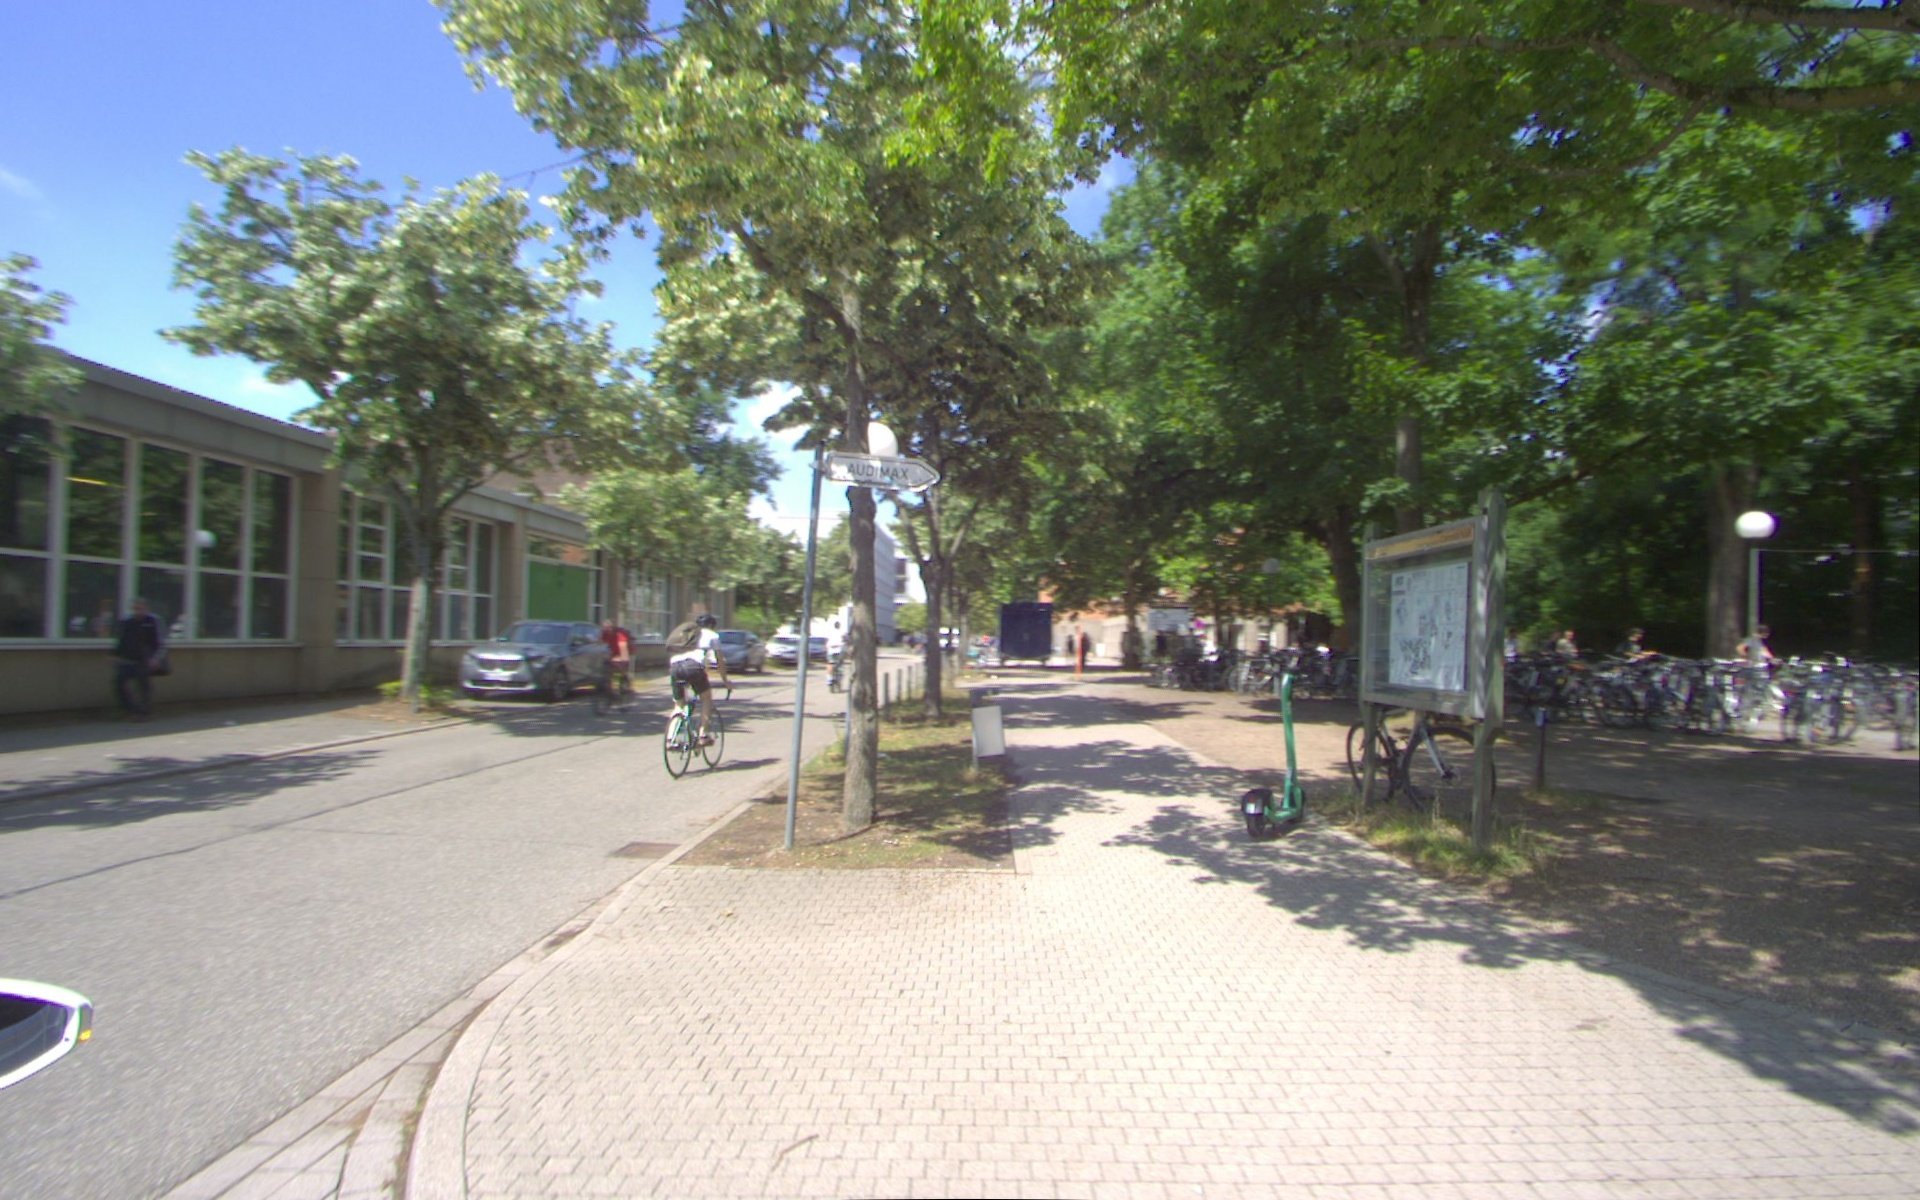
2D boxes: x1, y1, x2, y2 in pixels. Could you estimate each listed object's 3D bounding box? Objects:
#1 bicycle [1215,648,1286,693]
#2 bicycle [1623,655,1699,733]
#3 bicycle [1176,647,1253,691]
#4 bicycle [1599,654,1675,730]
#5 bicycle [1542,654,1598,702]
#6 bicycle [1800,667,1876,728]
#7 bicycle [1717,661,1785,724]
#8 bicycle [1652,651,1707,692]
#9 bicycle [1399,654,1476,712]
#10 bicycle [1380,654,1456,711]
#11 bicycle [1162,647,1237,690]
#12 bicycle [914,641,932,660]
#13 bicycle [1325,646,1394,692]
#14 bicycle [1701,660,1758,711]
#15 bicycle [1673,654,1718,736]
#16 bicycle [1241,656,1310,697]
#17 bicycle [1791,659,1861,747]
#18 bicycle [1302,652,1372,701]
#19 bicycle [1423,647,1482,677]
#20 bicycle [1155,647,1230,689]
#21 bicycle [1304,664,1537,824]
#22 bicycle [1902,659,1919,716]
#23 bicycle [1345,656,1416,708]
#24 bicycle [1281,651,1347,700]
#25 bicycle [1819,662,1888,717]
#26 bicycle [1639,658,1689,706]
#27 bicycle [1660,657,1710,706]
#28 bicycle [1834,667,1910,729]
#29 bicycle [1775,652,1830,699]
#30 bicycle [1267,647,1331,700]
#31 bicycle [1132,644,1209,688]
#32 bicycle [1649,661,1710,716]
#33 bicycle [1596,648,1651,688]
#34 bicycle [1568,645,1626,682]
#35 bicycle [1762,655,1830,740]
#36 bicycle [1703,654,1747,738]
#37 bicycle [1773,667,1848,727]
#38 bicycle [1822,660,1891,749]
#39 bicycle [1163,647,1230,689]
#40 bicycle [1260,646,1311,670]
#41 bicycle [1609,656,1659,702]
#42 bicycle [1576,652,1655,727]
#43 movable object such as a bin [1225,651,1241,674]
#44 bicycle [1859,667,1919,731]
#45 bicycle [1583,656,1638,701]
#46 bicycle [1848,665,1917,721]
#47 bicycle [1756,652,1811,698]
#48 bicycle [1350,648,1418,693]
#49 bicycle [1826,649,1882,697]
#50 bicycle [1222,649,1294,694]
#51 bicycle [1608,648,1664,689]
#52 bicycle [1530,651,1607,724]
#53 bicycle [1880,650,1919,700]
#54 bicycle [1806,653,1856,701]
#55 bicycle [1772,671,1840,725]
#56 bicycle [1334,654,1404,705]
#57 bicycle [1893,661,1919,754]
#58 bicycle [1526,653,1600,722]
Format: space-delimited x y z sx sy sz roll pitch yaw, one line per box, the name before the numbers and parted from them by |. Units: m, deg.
bicycle | 7.163 1.738 24.672 1.882 1.073 0.324 1 -1 -22
bicycle | 11.281 1.483 16.097 1.821 1.185 0.343 2 -1 -33
bicycle | 6.492 1.759 25.558 1.913 1.096 0.404 1 -1 -10
bicycle | 11.110 1.475 16.405 1.821 1.185 0.343 2 -1 -33
bicycle | 13.415 1.694 21.997 1.883 0.991 0.474 2 -2 -40
bicycle | 15.330 1.681 17.466 1.876 0.991 0.377 1 -2 -29
bicycle | 14.844 1.709 18.778 1.880 1.096 0.475 1 -2 -35
bicycle | 19.762 1.949 27.495 1.583 1.107 0.347 1 -1 -18
bicycle | 9.395 1.619 19.683 1.767 1.084 0.424 2 -1 -29
bicycle | 9.189 1.634 20.071 1.767 1.084 0.424 2 -1 -29
bicycle | 6.275 1.802 26.236 1.913 1.096 0.404 1 -1 -10
bicycle | -2.076 2.840 56.686 0.795 1.014 2.125 2 -3 2
bicycle | 9.967 1.700 25.069 0.470 1.096 1.900 0 -2 -19
bicycle | 16.192 1.775 21.061 1.881 0.991 0.475 2 -2 -38
bicycle | 11.478 1.451 15.611 0.342 1.185 1.829 0 -1 44
bicycle | 7.442 1.794 23.572 1.713 0.921 0.492 2 -1 -28
bicycle | 12.494 1.459 14.432 1.822 1.185 0.343 2 -1 -36
bicycle | 8.338 1.682 22.134 1.772 1.041 0.438 2 -1 -31
bicycle | 16.820 2.094 34.179 1.925 0.991 0.612 1 -2 -18
bicycle | 6.189 1.805 26.658 1.913 1.096 0.404 1 -1 -10
bicycle | 3.500 1.063 7.778 0.618 1.096 1.685 4 -5 -21
bicycle | 17.715 1.575 18.136 1.876 0.991 0.377 1 -2 -29
bicycle | 8.802 1.697 20.943 1.768 1.041 0.380 2 -1 -30
bicycle | 7.944 1.673 22.446 1.717 1.066 0.491 2 -1 -35
bicycle | 17.150 1.700 19.203 1.876 0.991 0.377 1 -2 -29
bicycle | 15.429 1.773 21.932 1.882 0.991 0.376 2 -2 -38
bicycle | 15.623 1.746 21.562 1.882 0.991 0.376 2 -2 -38
bicycle | 15.655 1.660 17.172 1.876 0.991 0.377 1 -2 -29
bicycle | 20.898 1.854 24.824 1.587 1.107 0.476 1 -2 -28
bicycle | 7.880 1.683 23.245 1.717 1.170 0.491 2 -1 -35
bicycle | 5.869 1.827 27.939 1.983 1.182 0.651 1 -1 -10
bicycle | 14.193 1.725 19.735 1.882 0.991 0.475 2 -2 -38
bicycle | 18.990 1.939 28.641 1.725 1.107 0.477 1 -2 -25
bicycle | 18.572 1.837 29.188 1.723 1.053 0.477 1 -1 -20
bicycle | 12.301 1.404 14.717 1.822 1.185 0.343 2 -1 -36
bicycle | 11.732 1.437 15.341 0.342 1.185 1.829 0 -1 44
bicycle | 15.131 1.699 17.799 1.876 0.991 0.377 1 -2 -29
bicycle | 12.684 1.447 14.154 1.822 1.185 0.343 2 -1 -36
bicycle | 6.389 1.846 27.077 1.740 1.096 0.438 1 -1 -10
bicycle | 16.446 2.922 50.677 2.359 1.085 0.783 2 -2 14
bicycle | 15.407 1.785 22.862 1.882 0.991 0.376 2 -2 -38
bicycle | 10.998 1.474 16.773 1.821 1.185 0.400 2 -1 -33
movable object such as a bin | 13.352 3.051 48.992 0.589 1.084 0.743 1 -3 2
bicycle | 15.805 1.650 16.876 1.876 0.991 0.377 1 -2 -29
bicycle | 15.050 1.794 23.155 1.882 0.991 0.475 2 -2 -38
bicycle | 17.369 1.735 18.839 1.876 0.991 0.377 1 -2 -29
bicycle | 20.678 1.868 25.133 1.587 1.107 0.476 1 -2 -28
bicycle | 10.792 1.782 25.554 0.470 1.096 1.900 0 -2 -19
bicycle | 21.338 1.732 23.890 1.587 1.107 0.476 1 -2 -28
bicycle | 7.264 1.728 24.379 1.882 1.073 0.324 1 -1 -22
bicycle | 19.136 1.927 28.325 1.725 1.107 0.477 1 -2 -25
bicycle | 10.462 1.477 17.200 1.769 1.185 0.400 2 -1 -33
bicycle | 21.735 1.702 22.925 1.587 1.107 0.476 1 -2 -28
bicycle | 20.954 1.836 24.087 1.587 1.107 0.346 1 -2 -28
bicycle | 16.797 1.923 19.866 1.876 0.991 0.377 1 -2 -29
bicycle | 8.709 1.683 21.303 1.768 1.041 0.380 2 -1 -31
bicycle | 13.150 1.432 13.602 1.822 1.185 0.350 2 -1 -36
bicycle | 10.778 1.537 17.886 1.769 1.185 0.400 2 -1 -33
